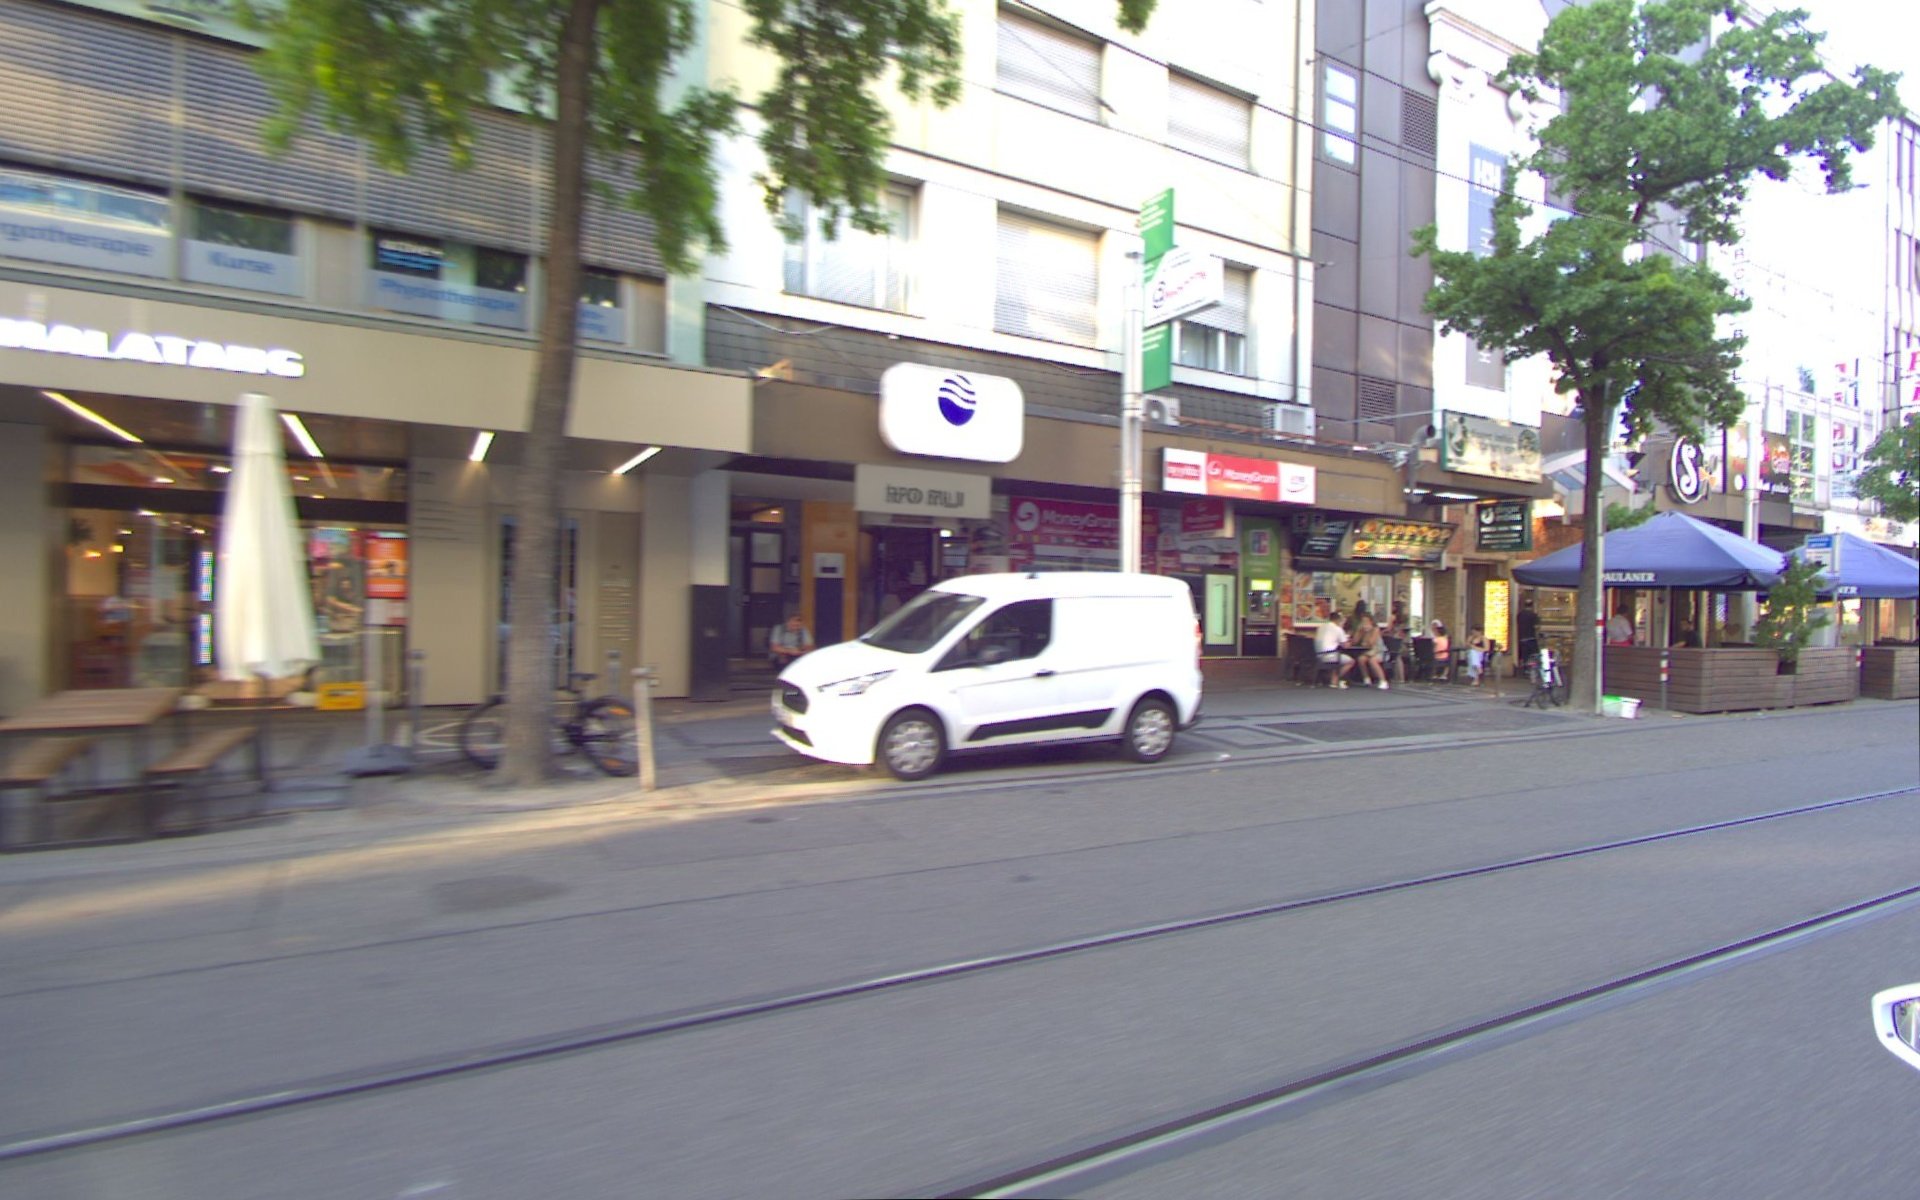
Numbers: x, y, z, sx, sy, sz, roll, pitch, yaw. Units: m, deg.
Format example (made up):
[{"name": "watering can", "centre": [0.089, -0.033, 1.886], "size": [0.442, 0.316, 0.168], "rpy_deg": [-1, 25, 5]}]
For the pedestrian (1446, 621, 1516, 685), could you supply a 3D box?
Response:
[{"name": "pedestrian", "centre": [9.990, 1.018, 19.275], "size": [0.766, 1.135, 0.820], "rpy_deg": [2, 2, -20]}]

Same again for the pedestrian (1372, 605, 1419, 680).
[{"name": "pedestrian", "centre": [8.298, 0.805, 19.151], "size": [0.596, 1.391, 0.442], "rpy_deg": [2, 2, -20]}]

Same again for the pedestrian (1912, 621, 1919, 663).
[{"name": "pedestrian", "centre": [31.068, 1.353, 32.177], "size": [0.717, 1.337, 0.571], "rpy_deg": [2, 2, -29]}]

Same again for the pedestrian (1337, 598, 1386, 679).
[{"name": "pedestrian", "centre": [7.543, 0.719, 18.884], "size": [0.505, 1.453, 0.607], "rpy_deg": [2, 3, -26]}]

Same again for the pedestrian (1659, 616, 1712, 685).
[{"name": "pedestrian", "centre": [13.934, 0.962, 19.306], "size": [0.598, 1.273, 0.556], "rpy_deg": [1, 3, -29]}]

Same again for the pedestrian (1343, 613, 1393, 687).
[{"name": "pedestrian", "centre": [7.294, 0.893, 17.969], "size": [0.580, 1.273, 0.519], "rpy_deg": [1, 3, -29]}]

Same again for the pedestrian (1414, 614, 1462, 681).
[{"name": "pedestrian", "centre": [9.496, 0.934, 19.977], "size": [0.597, 1.275, 0.557], "rpy_deg": [2, 2, -25]}]

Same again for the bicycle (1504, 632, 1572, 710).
[{"name": "bicycle", "centre": [9.482, 1.114, 16.432], "size": [0.800, 1.118, 2.159], "rpy_deg": [1, 0, 34]}]

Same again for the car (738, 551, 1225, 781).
[{"name": "car", "centre": [0.276, 0.575, 9.898], "size": [4.460, 1.842, 1.786], "rpy_deg": [2, 1, -28]}]

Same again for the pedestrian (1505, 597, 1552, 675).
[{"name": "pedestrian", "centre": [12.156, 0.765, 21.485], "size": [0.553, 1.618, 0.601], "rpy_deg": [1, 2, -28]}]

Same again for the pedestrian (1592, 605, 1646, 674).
[{"name": "pedestrian", "centre": [12.584, 0.746, 19.178], "size": [0.553, 1.273, 0.601], "rpy_deg": [2, 3, -28]}]

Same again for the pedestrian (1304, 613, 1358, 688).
[{"name": "pedestrian", "centre": [6.463, 0.875, 17.501], "size": [0.653, 1.259, 0.509], "rpy_deg": [1, 3, -29]}]

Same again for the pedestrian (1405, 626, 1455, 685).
[{"name": "pedestrian", "centre": [8.818, 1.030, 18.856], "size": [0.649, 1.043, 0.454], "rpy_deg": [3, 2, 0]}]

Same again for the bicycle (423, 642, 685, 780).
[{"name": "bicycle", "centre": [-3.444, 0.934, 8.622], "size": [1.979, 1.082, 0.613], "rpy_deg": [1, 0, 0]}]

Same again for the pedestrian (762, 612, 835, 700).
[{"name": "pedestrian", "centre": [-2.202, 0.745, 13.677], "size": [0.720, 1.109, 0.774], "rpy_deg": [2, 2, -29]}]
